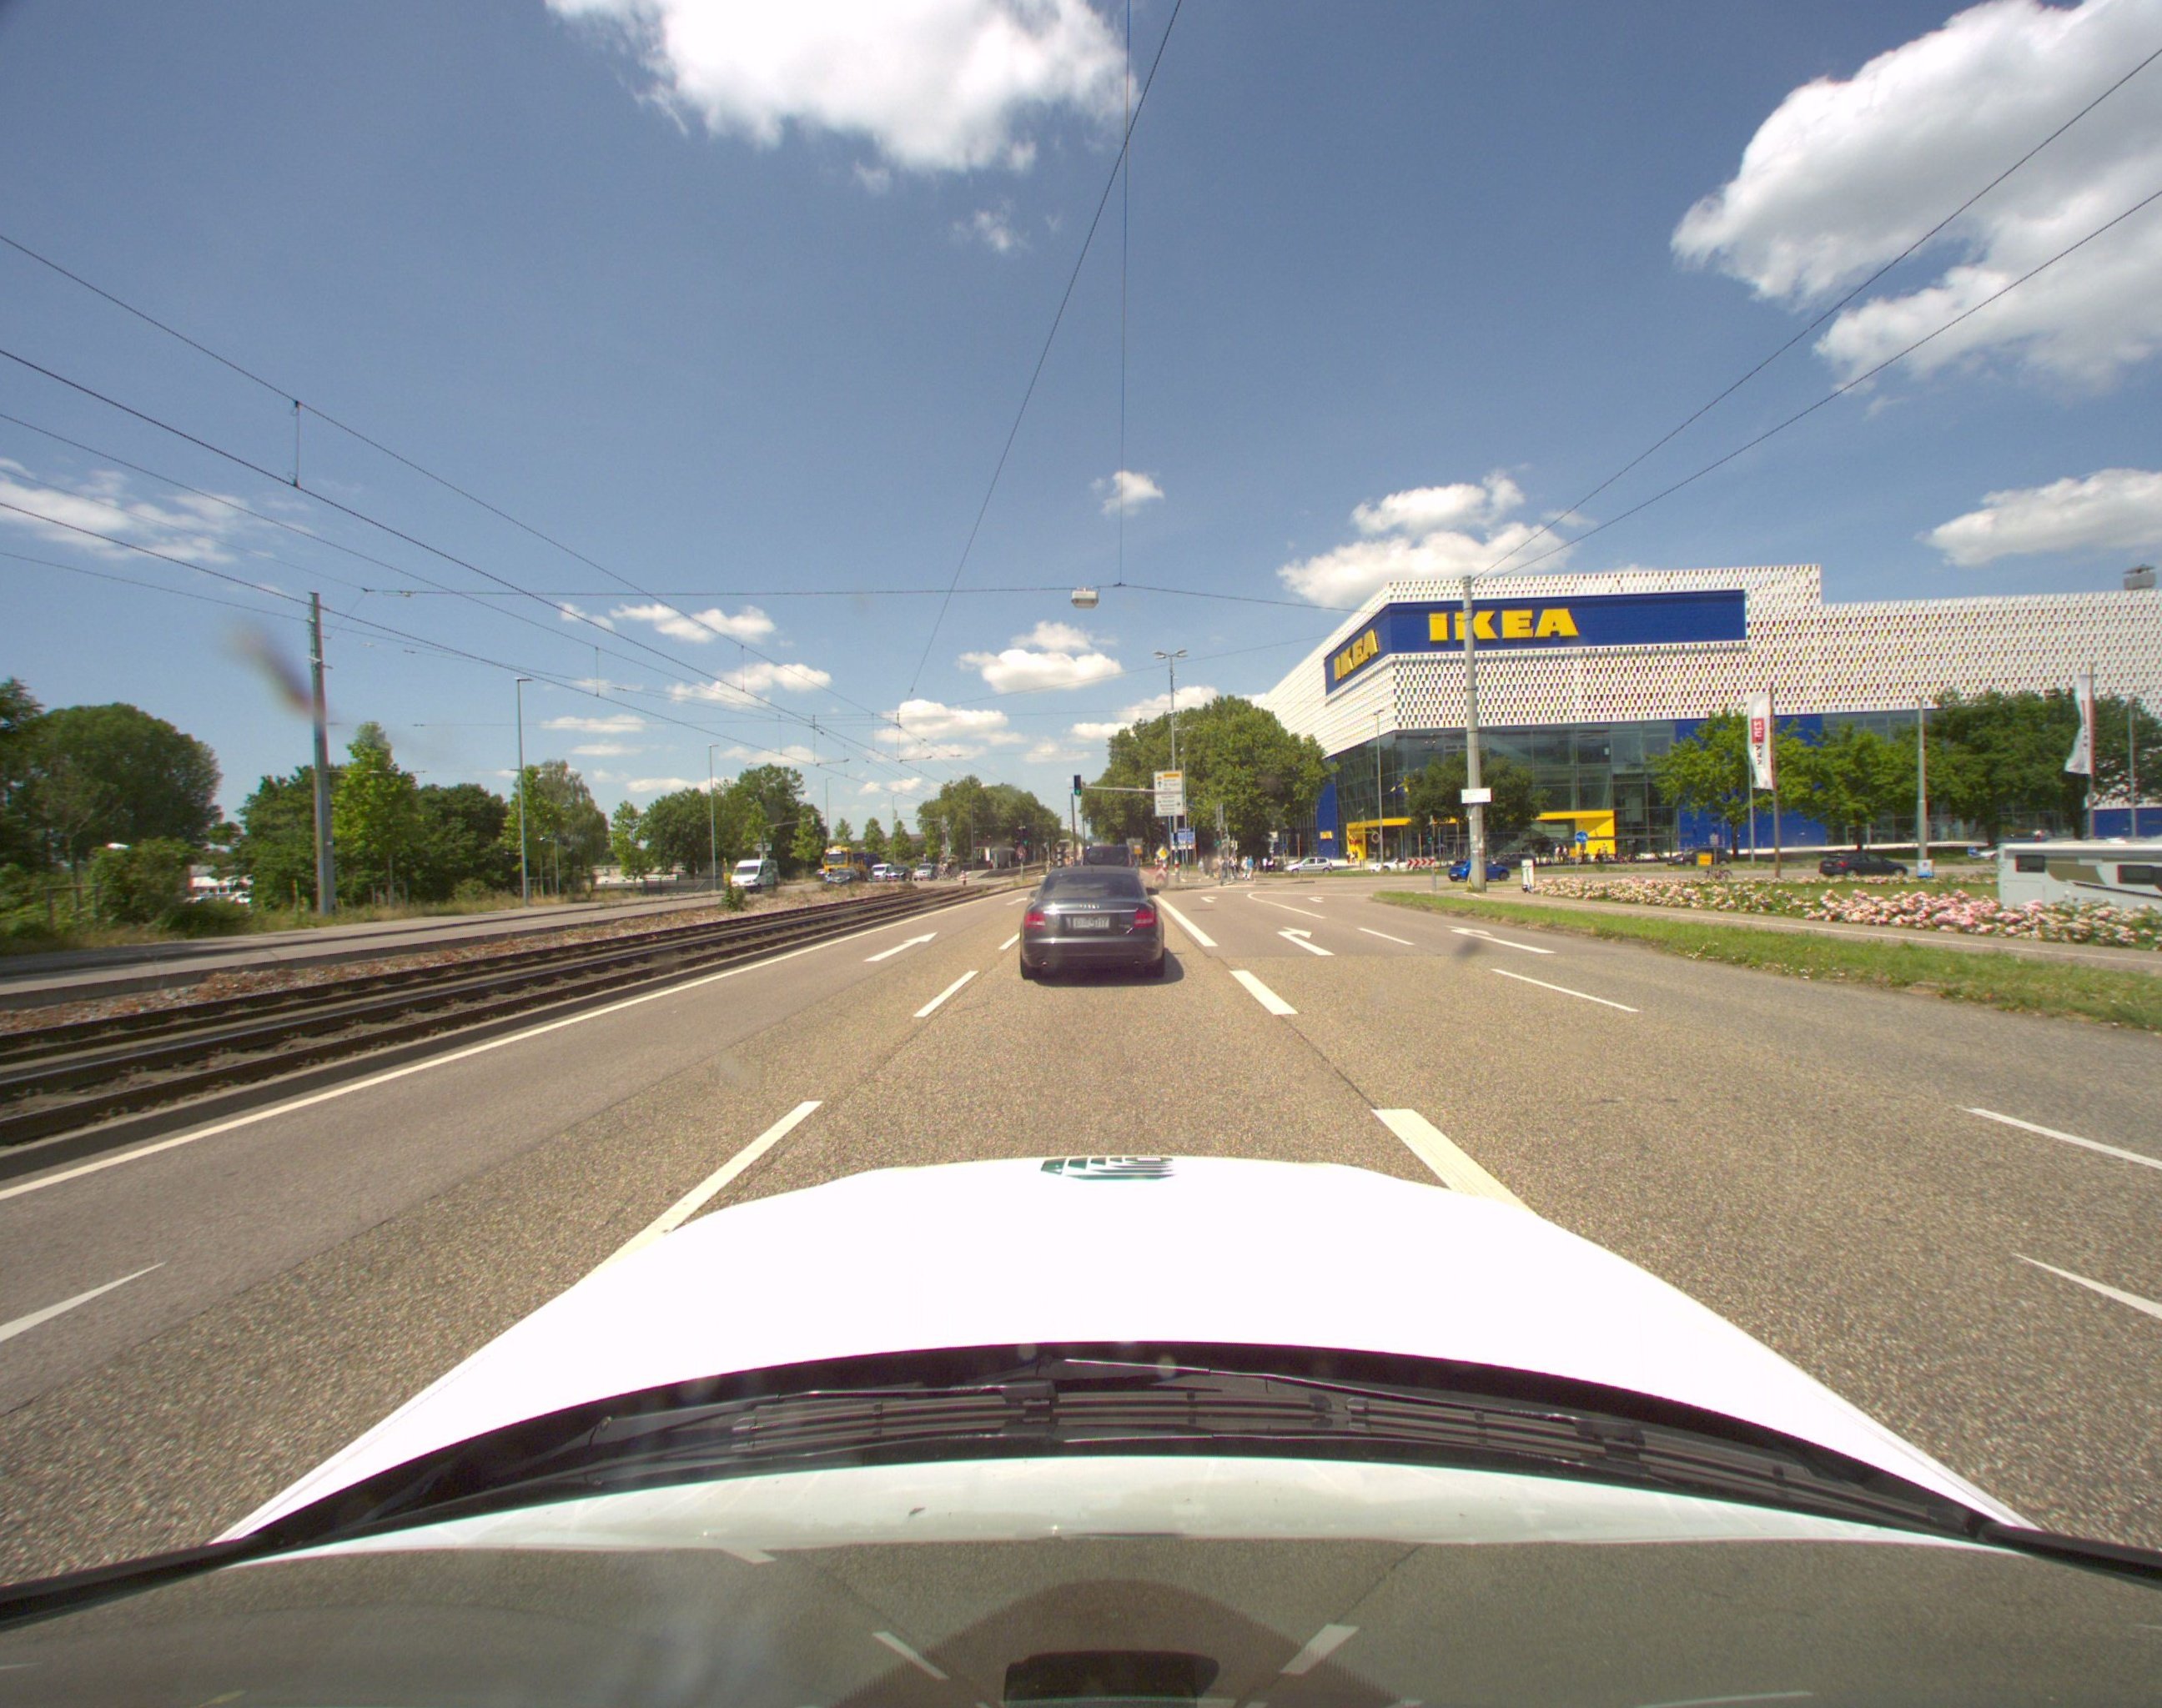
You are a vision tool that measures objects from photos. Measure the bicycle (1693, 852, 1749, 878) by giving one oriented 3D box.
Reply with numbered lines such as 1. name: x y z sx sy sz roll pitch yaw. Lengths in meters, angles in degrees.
1. bicycle: 36.966 0.637 47.065 2.410 1.481 0.990 -1 -1 6

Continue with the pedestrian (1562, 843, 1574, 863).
1. pedestrian: 48.921 -0.136 81.862 0.707 2.014 0.825 -1 0 4

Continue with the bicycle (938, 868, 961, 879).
1. bicycle: -11.761 1.733 72.838 2.054 0.925 0.751 -1 -1 -8

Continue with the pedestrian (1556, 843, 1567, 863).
1. pedestrian: 48.885 -0.068 82.835 0.707 2.014 0.825 -1 0 4

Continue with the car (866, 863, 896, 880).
1. car: -20.903 1.784 85.152 1.814 1.670 4.465 0 0 3

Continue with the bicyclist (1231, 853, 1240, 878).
1. bicyclist: 10.912 0.829 57.657 0.525 1.764 0.831 -1 -1 15

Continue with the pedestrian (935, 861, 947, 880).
1. pedestrian: -13.160 1.565 76.535 0.816 1.720 0.779 -1 -1 24

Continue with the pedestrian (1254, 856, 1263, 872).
1. pedestrian: 17.449 0.937 79.939 0.698 1.544 0.681 -1 -1 21

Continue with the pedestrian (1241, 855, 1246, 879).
1. pedestrian: 11.193 0.877 56.142 0.319 1.635 0.377 -1 -1 5

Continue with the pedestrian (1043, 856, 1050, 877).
1. pedestrian: -3.238 1.166 76.197 0.683 2.014 0.572 -1 -1 -3

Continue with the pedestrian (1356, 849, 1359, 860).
1. pedestrian: 34.024 0.092 100.202 0.287 1.342 0.266 -1 -1 1

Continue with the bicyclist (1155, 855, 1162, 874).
1. bicyclist: 7.246 0.988 76.275 0.526 1.789 1.088 -1 -1 2

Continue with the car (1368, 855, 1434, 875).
1. car: 24.942 0.842 63.635 4.475 1.486 2.003 0 0 5

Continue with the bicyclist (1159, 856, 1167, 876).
1. bicyclist: 7.044 0.997 70.015 0.526 1.676 1.088 -1 -1 2

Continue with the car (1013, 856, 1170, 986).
1. car: 0.198 0.784 11.442 1.786 1.455 4.002 -1 0 2

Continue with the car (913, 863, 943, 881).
1. car: -15.130 1.750 80.708 1.814 1.670 4.466 0 0 4

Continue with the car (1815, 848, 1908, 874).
1. car: 48.526 0.447 50.710 4.072 1.526 1.767 -1 0 1

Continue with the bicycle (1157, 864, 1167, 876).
1. bicycle: 6.971 1.341 70.026 0.685 1.006 2.753 -1 0 2

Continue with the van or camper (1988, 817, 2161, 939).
1. van or camper: 28.053 0.581 20.658 2.494 3.020 7.234 -1 0 6

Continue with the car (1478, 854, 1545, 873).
1. car: 35.243 0.771 66.733 4.475 1.486 2.003 -1 0 5

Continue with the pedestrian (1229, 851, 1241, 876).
1. pedestrian: 11.488 0.701 60.584 0.678 1.846 0.711 -1 -1 27

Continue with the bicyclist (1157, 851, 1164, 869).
1. bicyclist: 7.717 0.600 79.200 0.526 1.789 1.088 -1 -1 2

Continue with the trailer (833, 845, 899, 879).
1. trailer: -23.969 0.868 92.080 2.757 3.518 15.883 -1 0 2

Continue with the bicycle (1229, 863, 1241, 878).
1. bicycle: 10.951 1.154 57.765 0.654 1.022 1.869 -1 0 15

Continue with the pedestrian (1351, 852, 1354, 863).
1. pedestrian: 33.378 0.395 100.199 0.287 1.342 0.266 -1 -1 1

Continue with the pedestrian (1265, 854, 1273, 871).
1. pedestrian: 18.382 0.828 79.597 0.698 1.635 0.615 -1 -1 21

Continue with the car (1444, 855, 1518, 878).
1. car: 25.755 0.804 52.468 3.986 1.454 1.837 0 0 -10

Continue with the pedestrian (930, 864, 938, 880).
1. pedestrian: -13.303 1.589 73.724 0.683 1.443 0.572 -1 -1 -2

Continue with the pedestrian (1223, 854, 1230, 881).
1. pedestrian: 9.162 0.851 51.366 0.379 1.635 0.377 -1 -1 5

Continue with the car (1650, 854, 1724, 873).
1. car: 49.172 0.731 66.140 4.475 1.486 2.003 0 0 5

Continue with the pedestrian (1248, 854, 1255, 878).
1. pedestrian: 11.652 0.800 55.757 0.396 1.635 0.371 -1 -1 5

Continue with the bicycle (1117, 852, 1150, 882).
1. bicycle: 3.749 0.891 57.748 1.982 2.014 4.010 -1 0 9

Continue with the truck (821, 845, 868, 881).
1. truck: -24.228 0.897 83.705 2.757 3.569 6.442 -1 0 2

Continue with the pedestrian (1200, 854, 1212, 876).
1. pedestrian: 9.345 0.831 60.966 0.706 1.635 0.711 -1 -1 27

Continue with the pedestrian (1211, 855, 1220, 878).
1. pedestrian: 9.613 0.883 58.308 0.551 1.635 0.433 -1 -1 4

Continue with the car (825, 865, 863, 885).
1. car: -20.437 1.785 70.427 1.815 1.670 4.463 0 0 2

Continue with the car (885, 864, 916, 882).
1. car: -17.881 1.858 80.843 1.814 1.670 4.467 0 0 5

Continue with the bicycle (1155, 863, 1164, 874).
1. bicycle: 7.273 1.306 75.601 0.685 0.993 2.753 -1 0 2

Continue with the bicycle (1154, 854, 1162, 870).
1. bicycle: 7.531 0.750 79.567 0.685 1.519 2.753 -1 0 2

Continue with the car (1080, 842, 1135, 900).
1. car: 0.955 0.588 29.674 1.830 1.950 4.001 -1 -1 2

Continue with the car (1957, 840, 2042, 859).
1. car: 75.354 -0.364 66.859 4.475 1.486 2.003 0 0 5

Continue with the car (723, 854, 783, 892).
1. car: -24.642 1.346 61.403 2.239 2.589 6.225 -4 0 -4

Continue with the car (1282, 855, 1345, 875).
1. car: 18.177 0.842 63.799 4.475 1.486 2.003 0 0 5

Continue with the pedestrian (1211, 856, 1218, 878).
1. pedestrian: 9.588 0.929 58.331 0.443 1.635 0.430 -1 -1 5

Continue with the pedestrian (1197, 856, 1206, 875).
1. pedestrian: 9.445 0.895 63.826 0.490 1.520 0.710 -1 -1 19
